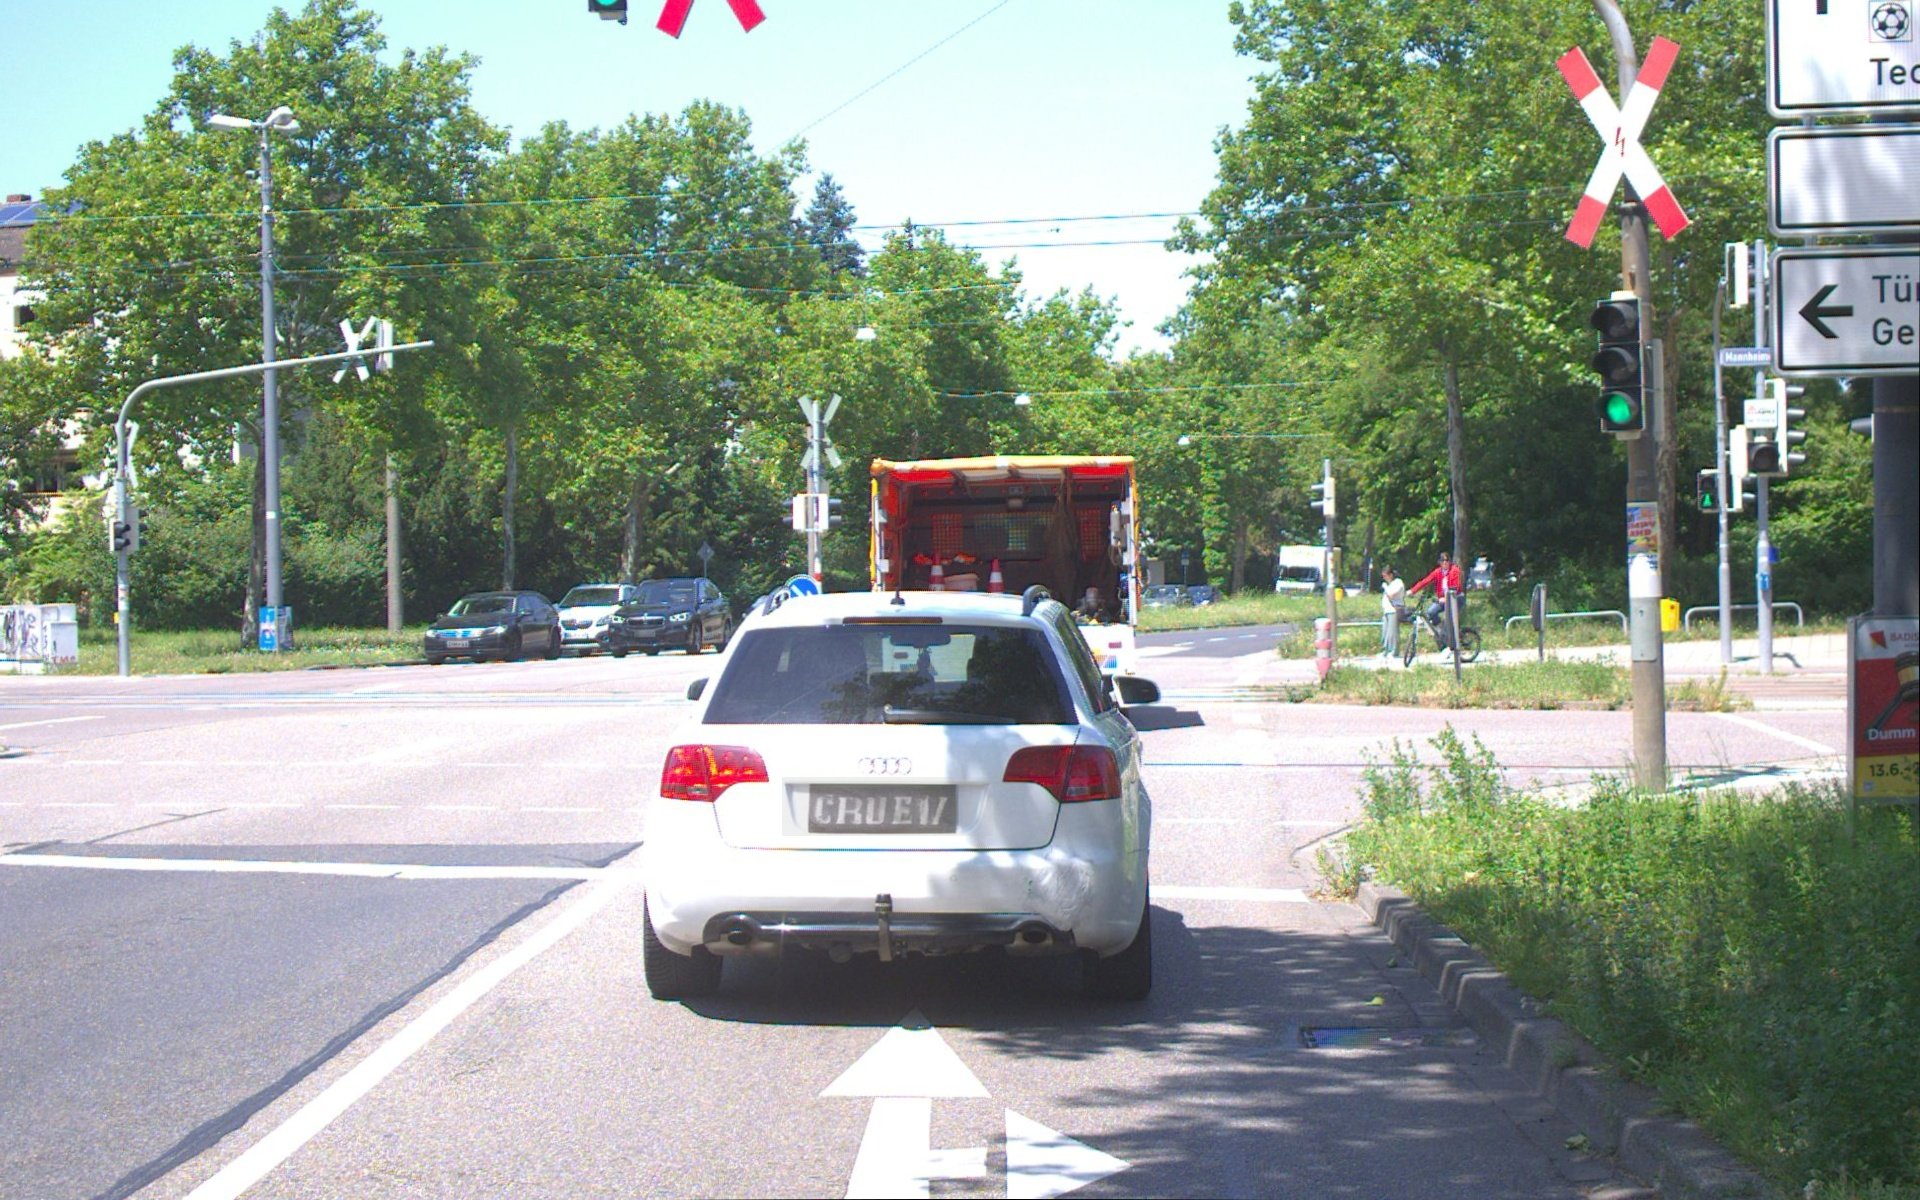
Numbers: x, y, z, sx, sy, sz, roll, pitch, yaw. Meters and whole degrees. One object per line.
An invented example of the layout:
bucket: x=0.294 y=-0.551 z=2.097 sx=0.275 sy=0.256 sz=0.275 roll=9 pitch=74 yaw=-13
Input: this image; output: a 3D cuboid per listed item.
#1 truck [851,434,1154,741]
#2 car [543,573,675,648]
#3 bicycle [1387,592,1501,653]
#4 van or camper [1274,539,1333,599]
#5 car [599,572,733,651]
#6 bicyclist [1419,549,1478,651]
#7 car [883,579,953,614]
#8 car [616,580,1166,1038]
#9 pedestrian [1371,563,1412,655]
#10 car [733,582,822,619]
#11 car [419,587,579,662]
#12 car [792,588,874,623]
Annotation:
truck: x=0.387 y=-0.116 z=32.687 sx=2.511 sy=2.551 sz=7.603 roll=1 pitch=0 yaw=0
car: x=-7.952 y=0.209 z=78.227 sx=1.788 sy=1.609 sz=4.402 roll=-1 pitch=1 yaw=11
bicycle: x=7.461 y=0.348 z=53.003 sx=1.806 sy=0.892 sz=0.589 roll=-1 pitch=1 yaw=-35
van or camper: x=19.794 y=-1.781 z=197.693 sx=2.662 sy=3.320 sz=5.497 roll=-1 pitch=0 yaw=13
car: x=-6.086 y=0.219 z=71.679 sx=1.909 sy=1.533 sz=4.297 roll=-1 pitch=1 yaw=7
bicyclist: x=7.539 y=-0.001 z=53.063 sx=0.671 sy=1.551 sz=0.579 roll=-1 pitch=0 yaw=-34
car: x=-1.824 y=-0.168 z=151.409 sx=1.883 sy=1.469 sz=3.996 roll=-1 pitch=0 yaw=18
car: x=-0.148 y=0.656 z=12.814 sx=1.762 sy=1.440 sz=3.616 roll=0 pitch=1 yaw=2
pedestrian: x=7.017 y=0.148 z=55.899 sx=0.553 sy=1.479 sz=0.629 roll=-1 pitch=0 yaw=15
car: x=-7.227 y=0.014 z=136.566 sx=1.884 sy=1.388 sz=3.995 roll=-1 pitch=0 yaw=25
car: x=-9.525 y=0.489 z=71.373 sx=1.950 sy=1.435 sz=4.744 roll=0 pitch=1 yaw=10
car: x=-5.231 y=0.216 z=141.875 sx=1.884 sy=1.371 sz=3.995 roll=-1 pitch=0 yaw=22
